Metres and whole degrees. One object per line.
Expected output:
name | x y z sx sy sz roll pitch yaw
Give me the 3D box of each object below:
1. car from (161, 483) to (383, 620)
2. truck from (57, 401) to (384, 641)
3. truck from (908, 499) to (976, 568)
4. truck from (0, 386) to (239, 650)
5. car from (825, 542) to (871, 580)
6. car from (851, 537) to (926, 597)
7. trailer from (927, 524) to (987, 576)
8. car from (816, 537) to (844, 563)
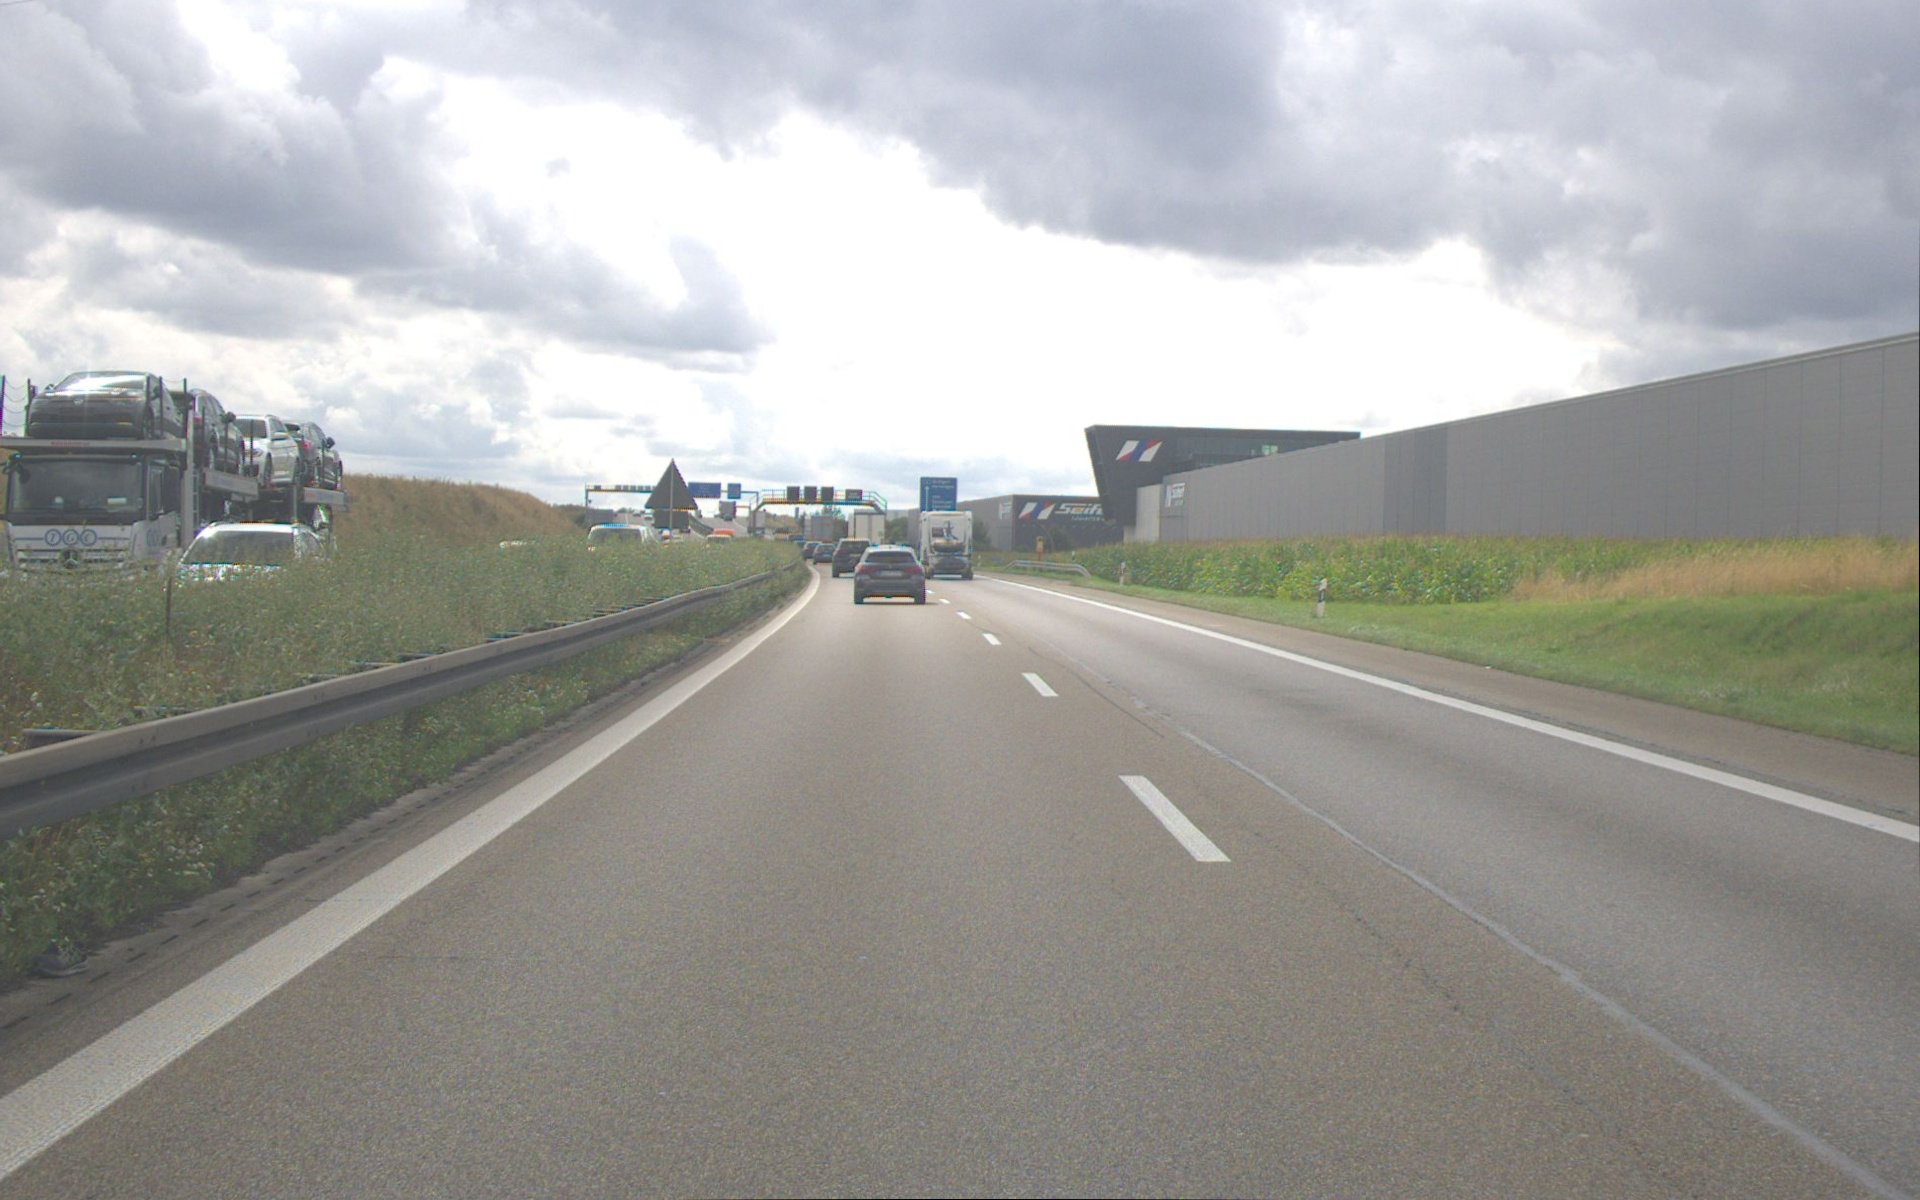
car | -8.839 -0.623 44.506 1.993 1.656 4.302 1 1 0
truck | -13.579 -1.459 65.045 2.723 3.922 17.403 0 1 -1
truck | -0.816 -2.931 152.454 2.481 2.940 5.816 1 1 -5
truck | -13.323 -1.282 54.265 2.723 3.922 5.987 0 1 -1
car | -5.035 -1.746 154.099 1.945 1.679 4.001 1 1 -3
car | -1.833 -0.850 87.113 1.746 1.448 4.000 1 1 -3
trailer | -0.142 -2.094 145.610 2.338 2.129 4.001 1 1 -3
car | -9.196 -3.530 243.585 1.943 1.769 3.696 1 1 -1
